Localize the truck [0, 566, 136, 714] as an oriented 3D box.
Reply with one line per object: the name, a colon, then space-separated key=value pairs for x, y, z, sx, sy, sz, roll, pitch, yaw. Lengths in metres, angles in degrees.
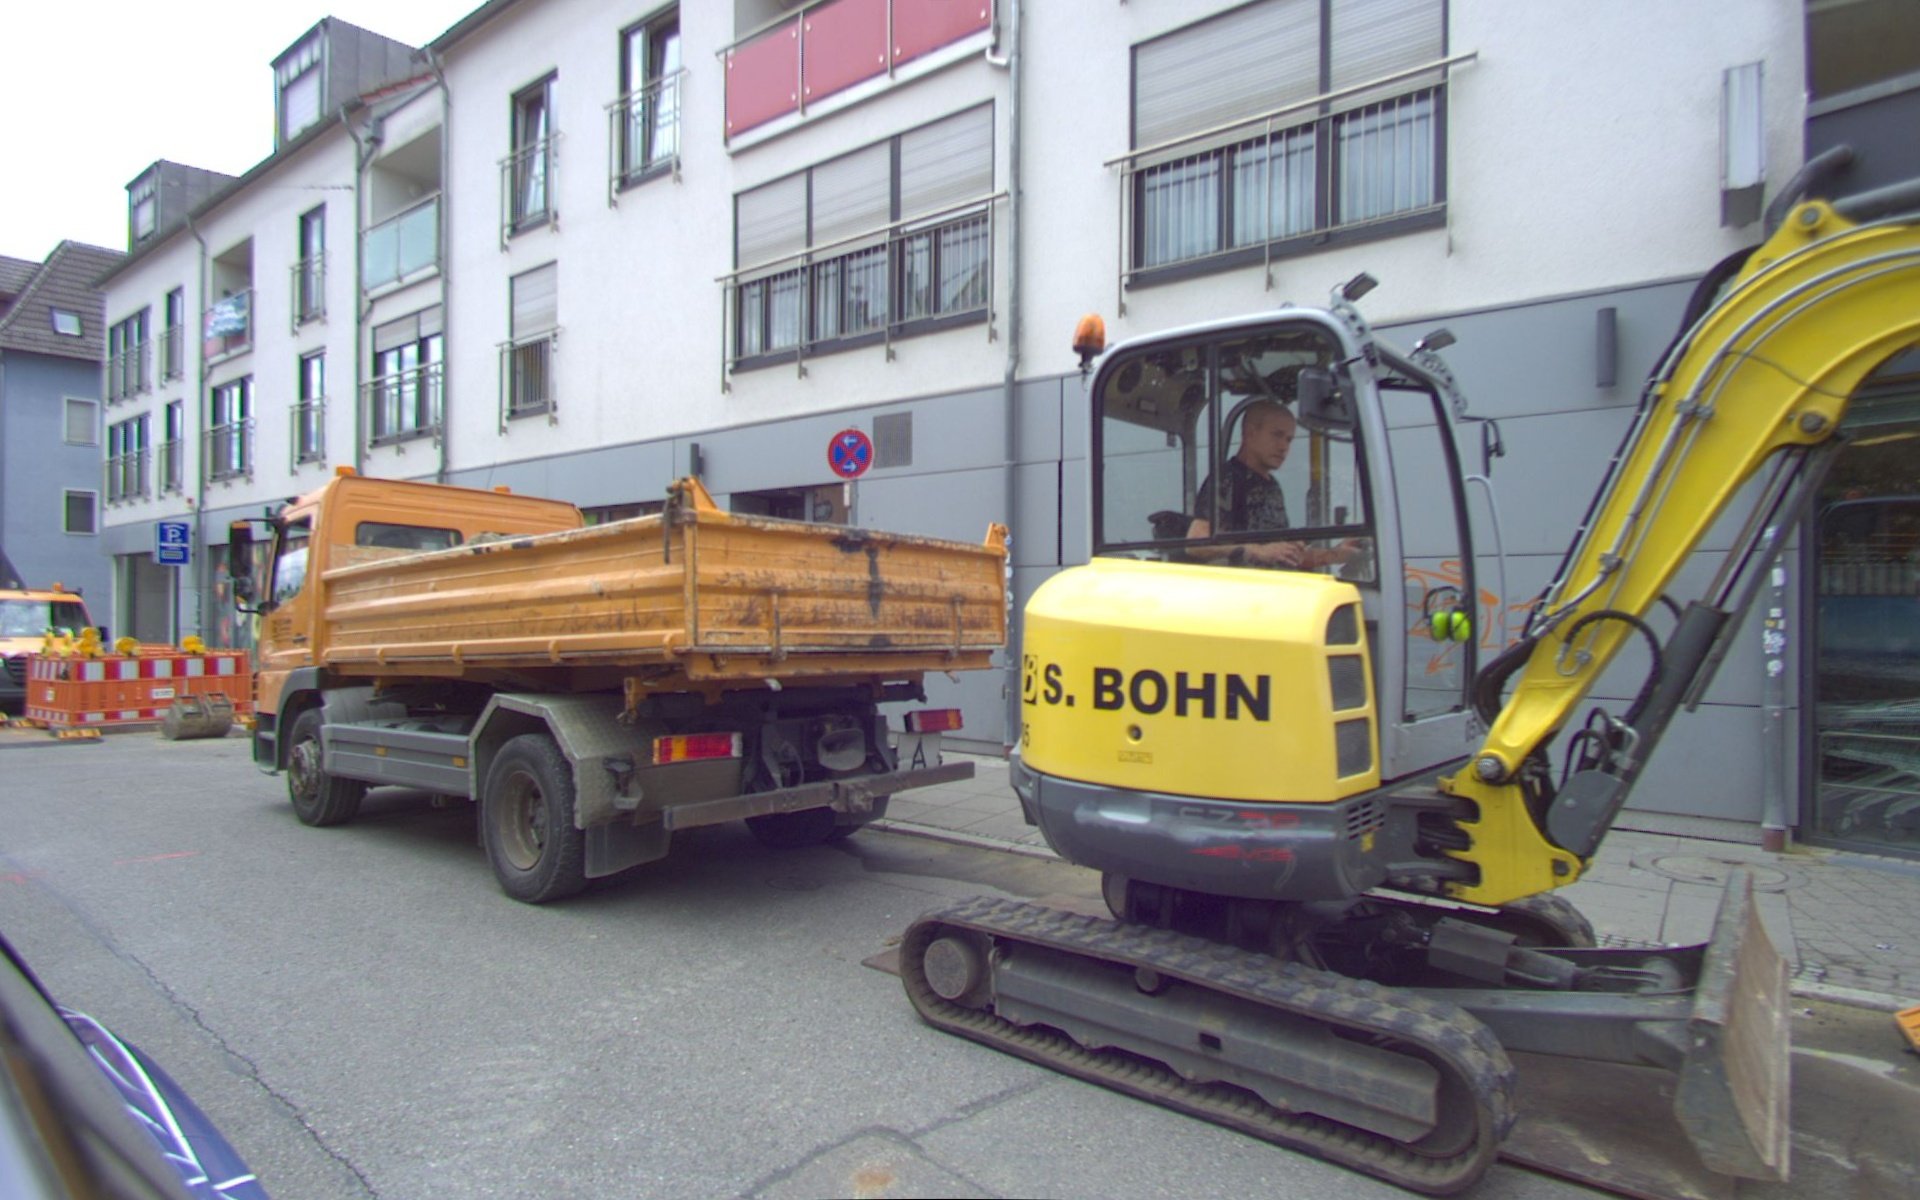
truck: x=-18.300 y=0.790 z=19.360 sx=6.295 sy=2.485 sz=2.392 roll=-2 pitch=-3 yaw=36

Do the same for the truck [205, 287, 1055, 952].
truck: x=-2.905 y=0.187 z=7.426 sx=6.841 sy=2.746 sz=2.704 roll=-2 pitch=-2 yaw=40

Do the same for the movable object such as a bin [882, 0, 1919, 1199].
movable object such as a bin: x=2.002 y=0.071 z=2.963 sx=4.504 sy=2.784 sz=1.820 roll=0 pitch=-1 yaw=41
